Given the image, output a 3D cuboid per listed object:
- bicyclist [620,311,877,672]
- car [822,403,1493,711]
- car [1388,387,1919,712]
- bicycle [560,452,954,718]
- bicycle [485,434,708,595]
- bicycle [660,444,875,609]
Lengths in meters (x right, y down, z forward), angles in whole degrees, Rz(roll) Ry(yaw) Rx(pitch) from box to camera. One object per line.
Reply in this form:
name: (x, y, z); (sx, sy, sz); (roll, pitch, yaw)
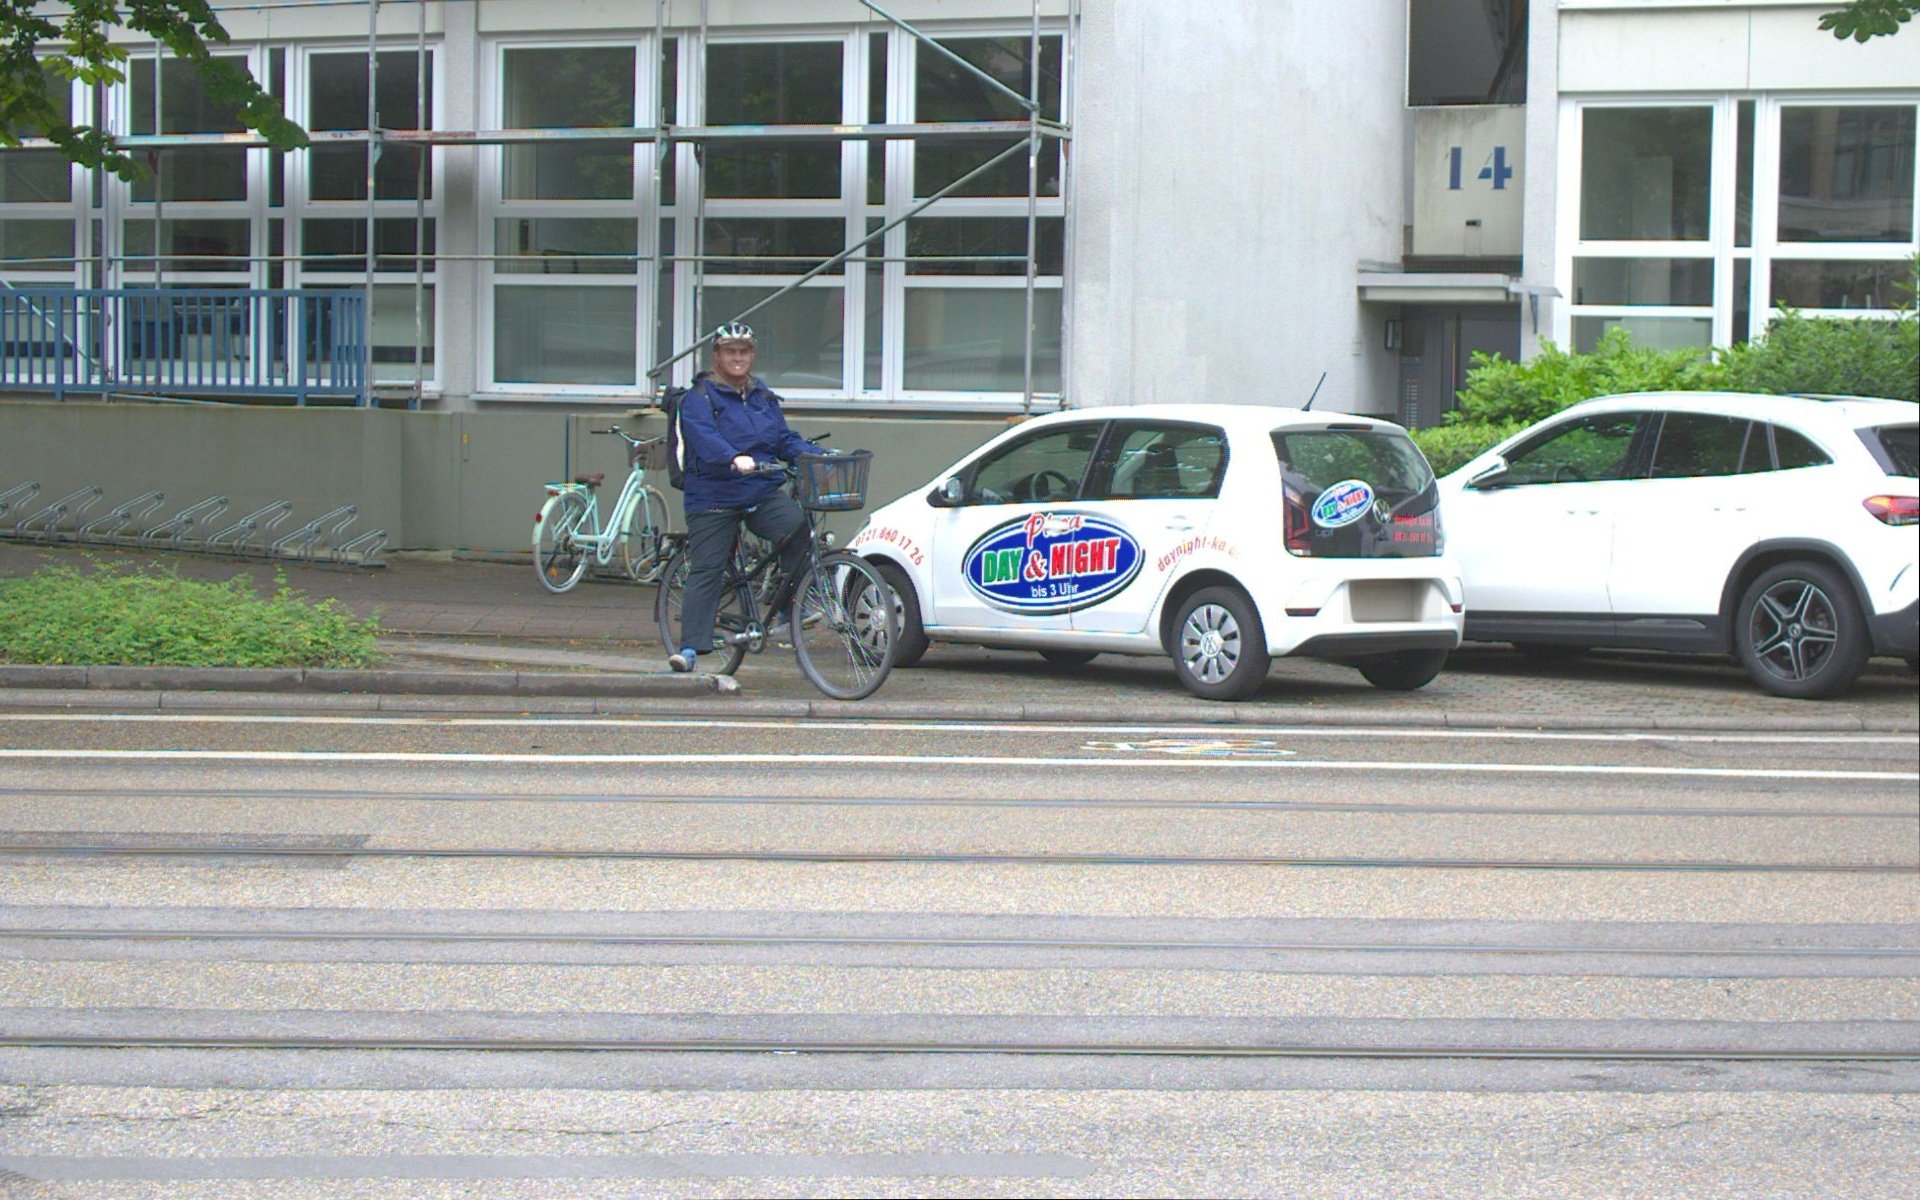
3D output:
bicyclist: (-1.030, -0.543, 16.701); (0.896, 1.692, 0.832); (4, 4, 45)
car: (0.982, -0.300, 18.307); (1.552, 1.468, 3.406); (-2, 4, -44)
car: (4.174, -0.349, 18.770); (1.552, 1.612, 3.406); (-2, 4, -44)
bicycle: (-1.008, -0.108, 16.686); (1.914, 1.170, 0.819); (4, 5, 44)
bicycle: (-2.575, -0.639, 24.637); (0.645, 1.071, 2.310); (2, 4, 19)
bicycle: (-1.322, -0.545, 24.154); (0.645, 1.071, 2.310); (2, 4, 19)
